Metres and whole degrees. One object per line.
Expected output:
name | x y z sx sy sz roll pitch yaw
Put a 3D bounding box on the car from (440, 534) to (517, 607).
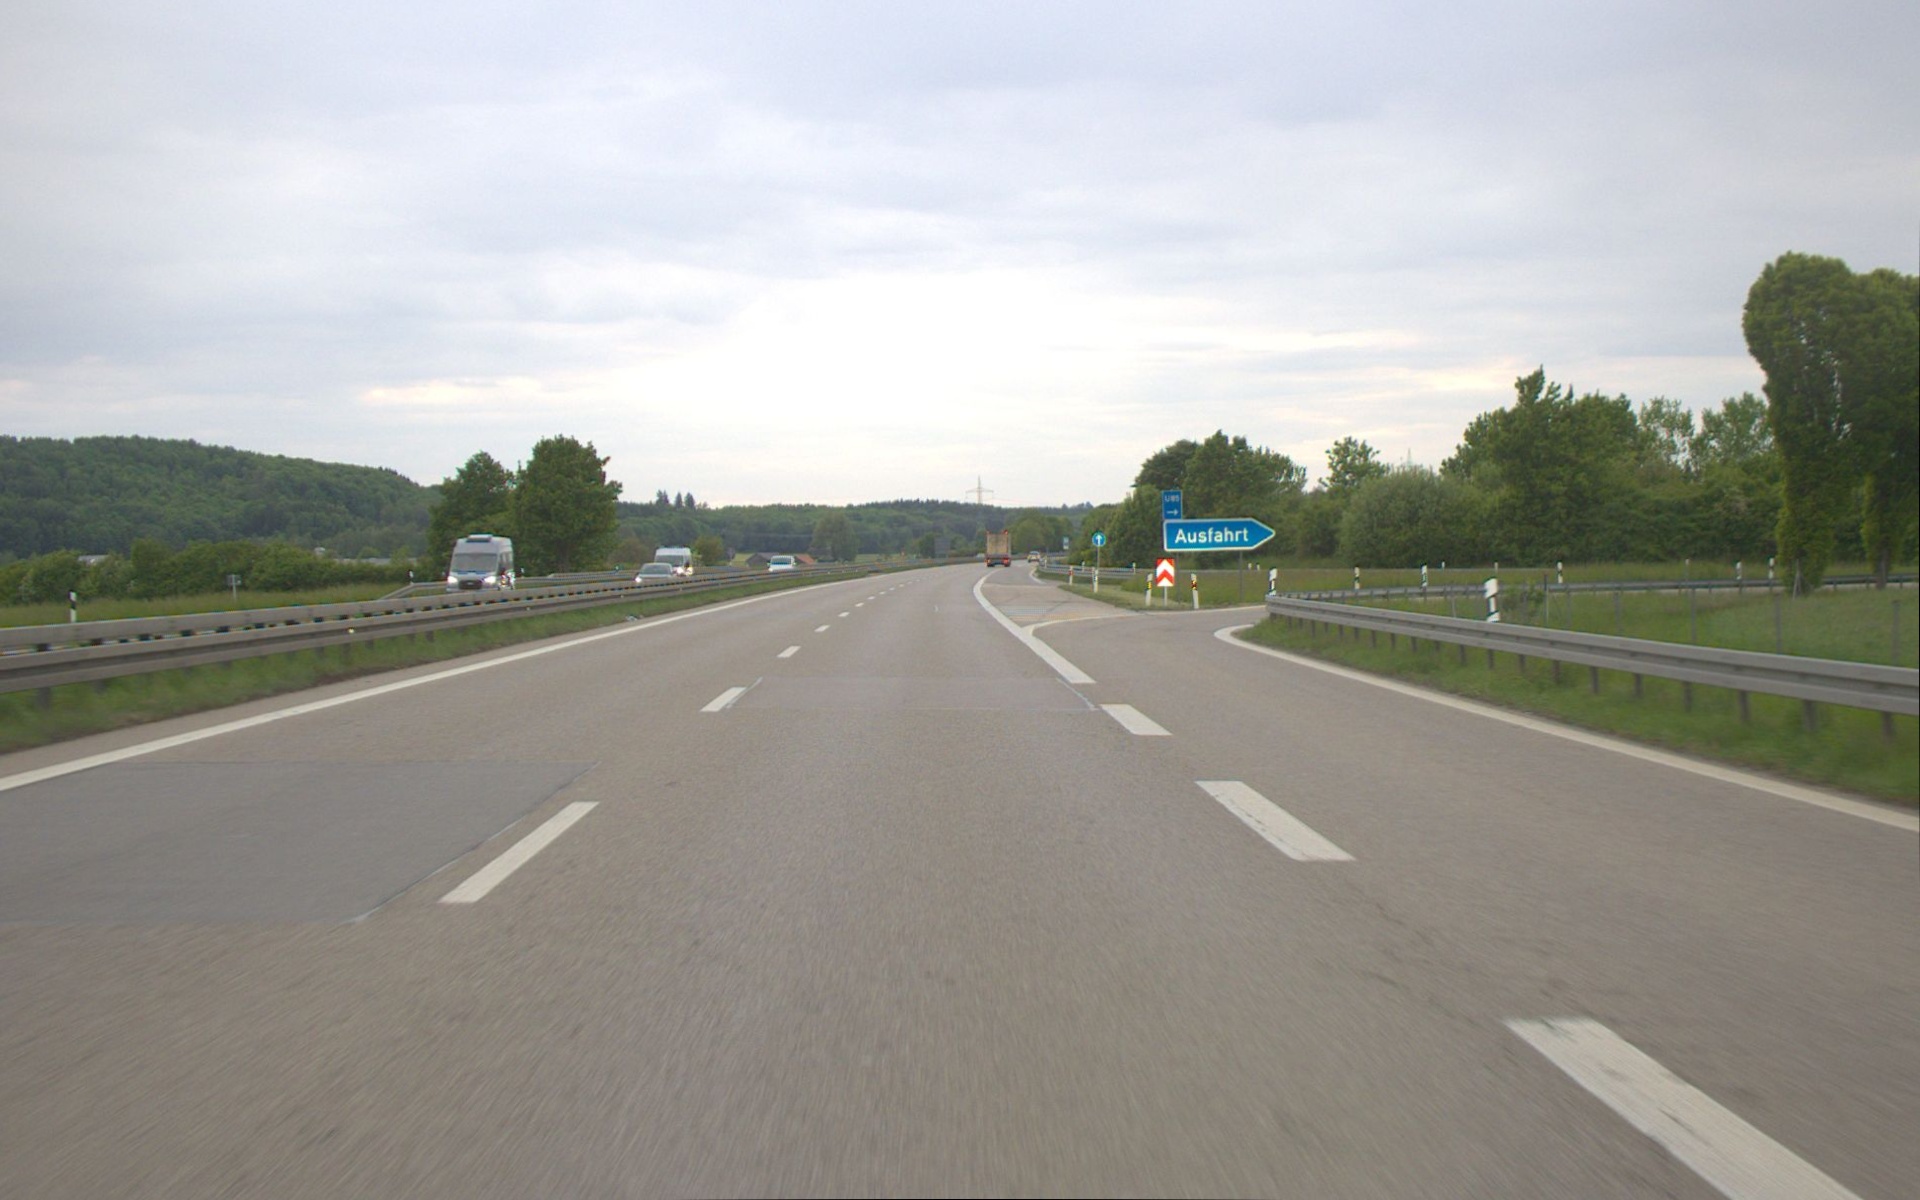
car | -18.933 -1.167 135.417 2.106 2.791 6.427 1 1 0
